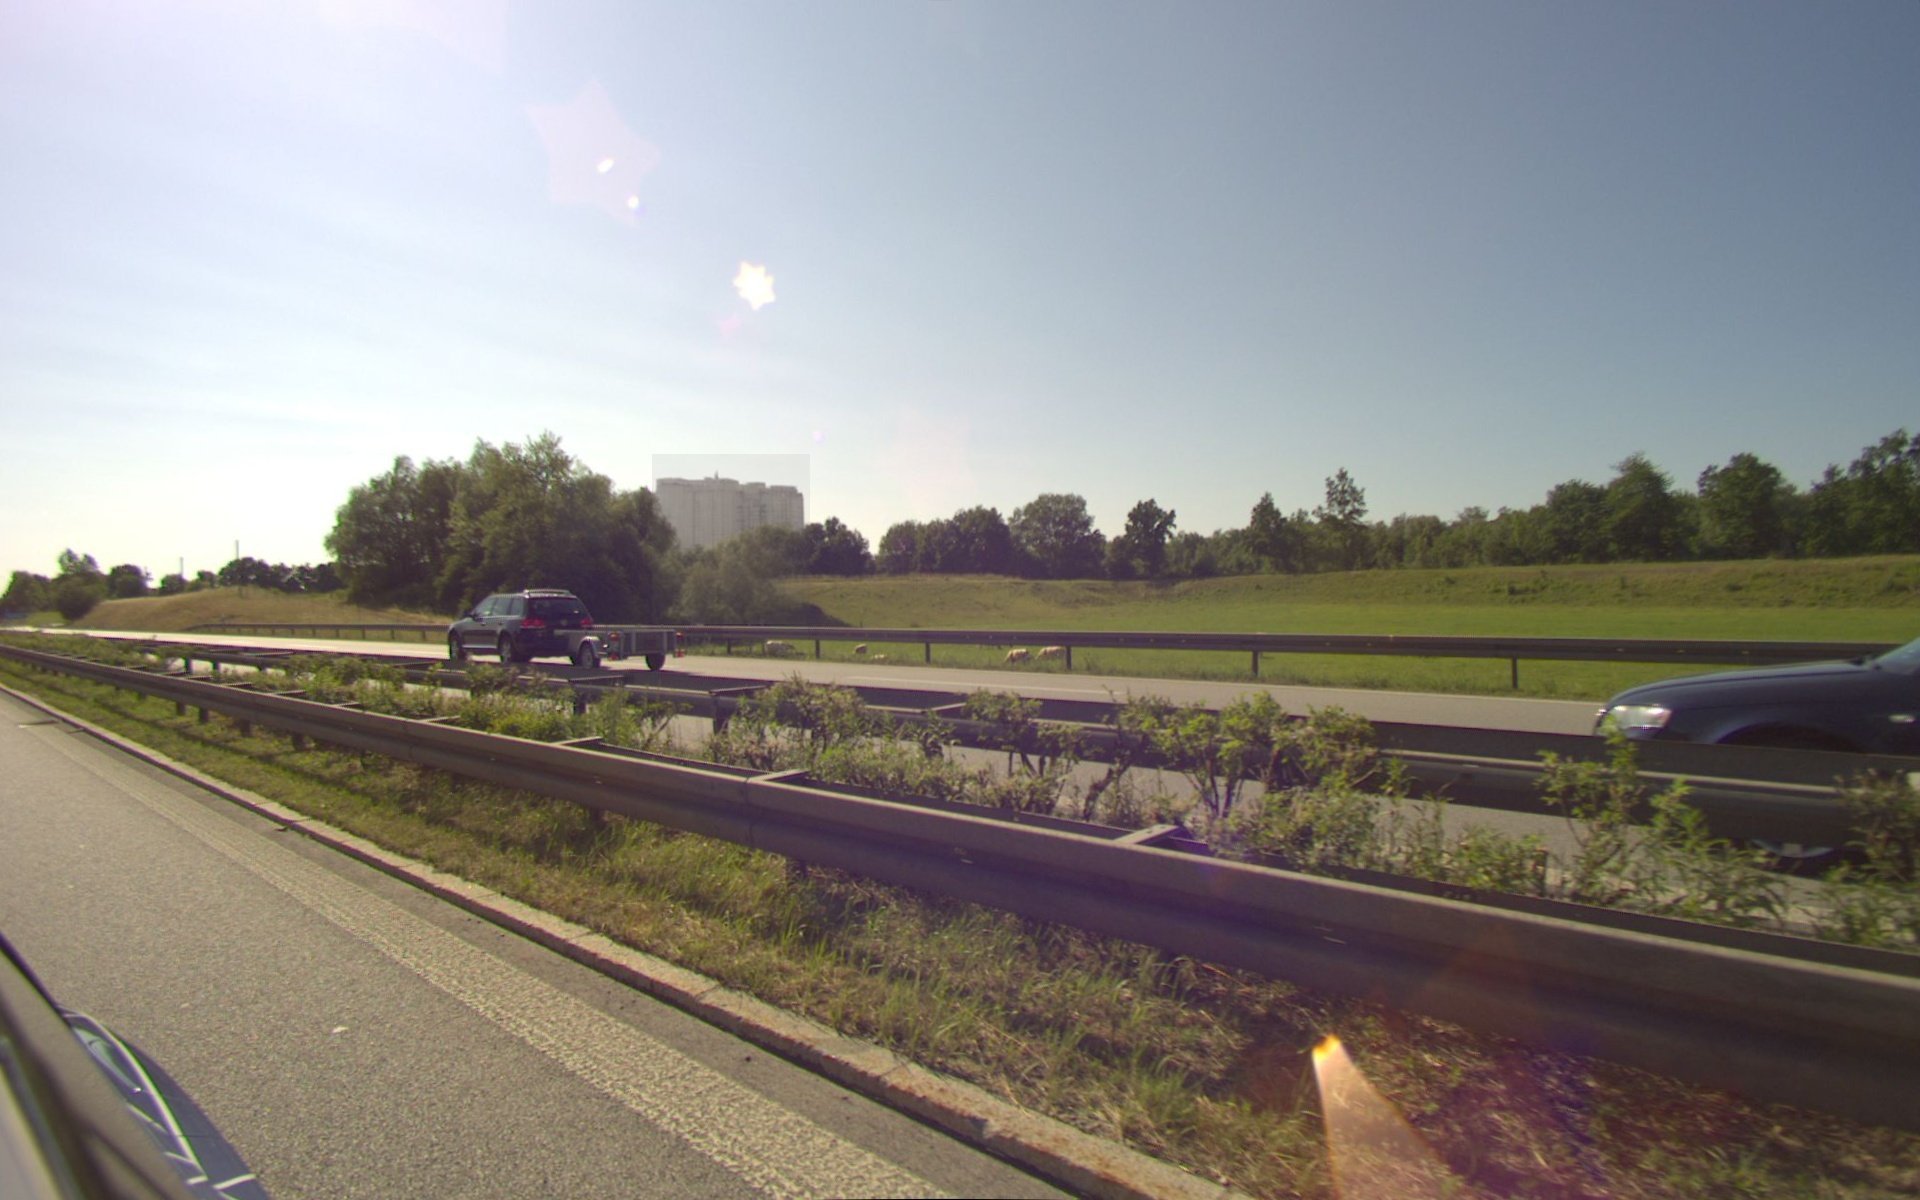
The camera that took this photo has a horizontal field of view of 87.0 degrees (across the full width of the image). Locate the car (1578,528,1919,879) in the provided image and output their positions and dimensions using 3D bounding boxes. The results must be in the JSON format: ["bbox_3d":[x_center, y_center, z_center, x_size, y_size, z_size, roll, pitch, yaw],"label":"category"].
[{"bbox_3d":[5.495,0.436,4.080,4.923,1.470,1.663,-1,-2,41],"label":"car"}]

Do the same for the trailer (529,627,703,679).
[{"bbox_3d":[-7.252,1.053,21.144,4.019,0.943,1.723,-1,-1,42],"label":"trailer"}]

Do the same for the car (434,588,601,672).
[{"bbox_3d":[-10.638,0.689,24.142,4.870,1.817,1.829,-1,-2,42],"label":"car"}]
